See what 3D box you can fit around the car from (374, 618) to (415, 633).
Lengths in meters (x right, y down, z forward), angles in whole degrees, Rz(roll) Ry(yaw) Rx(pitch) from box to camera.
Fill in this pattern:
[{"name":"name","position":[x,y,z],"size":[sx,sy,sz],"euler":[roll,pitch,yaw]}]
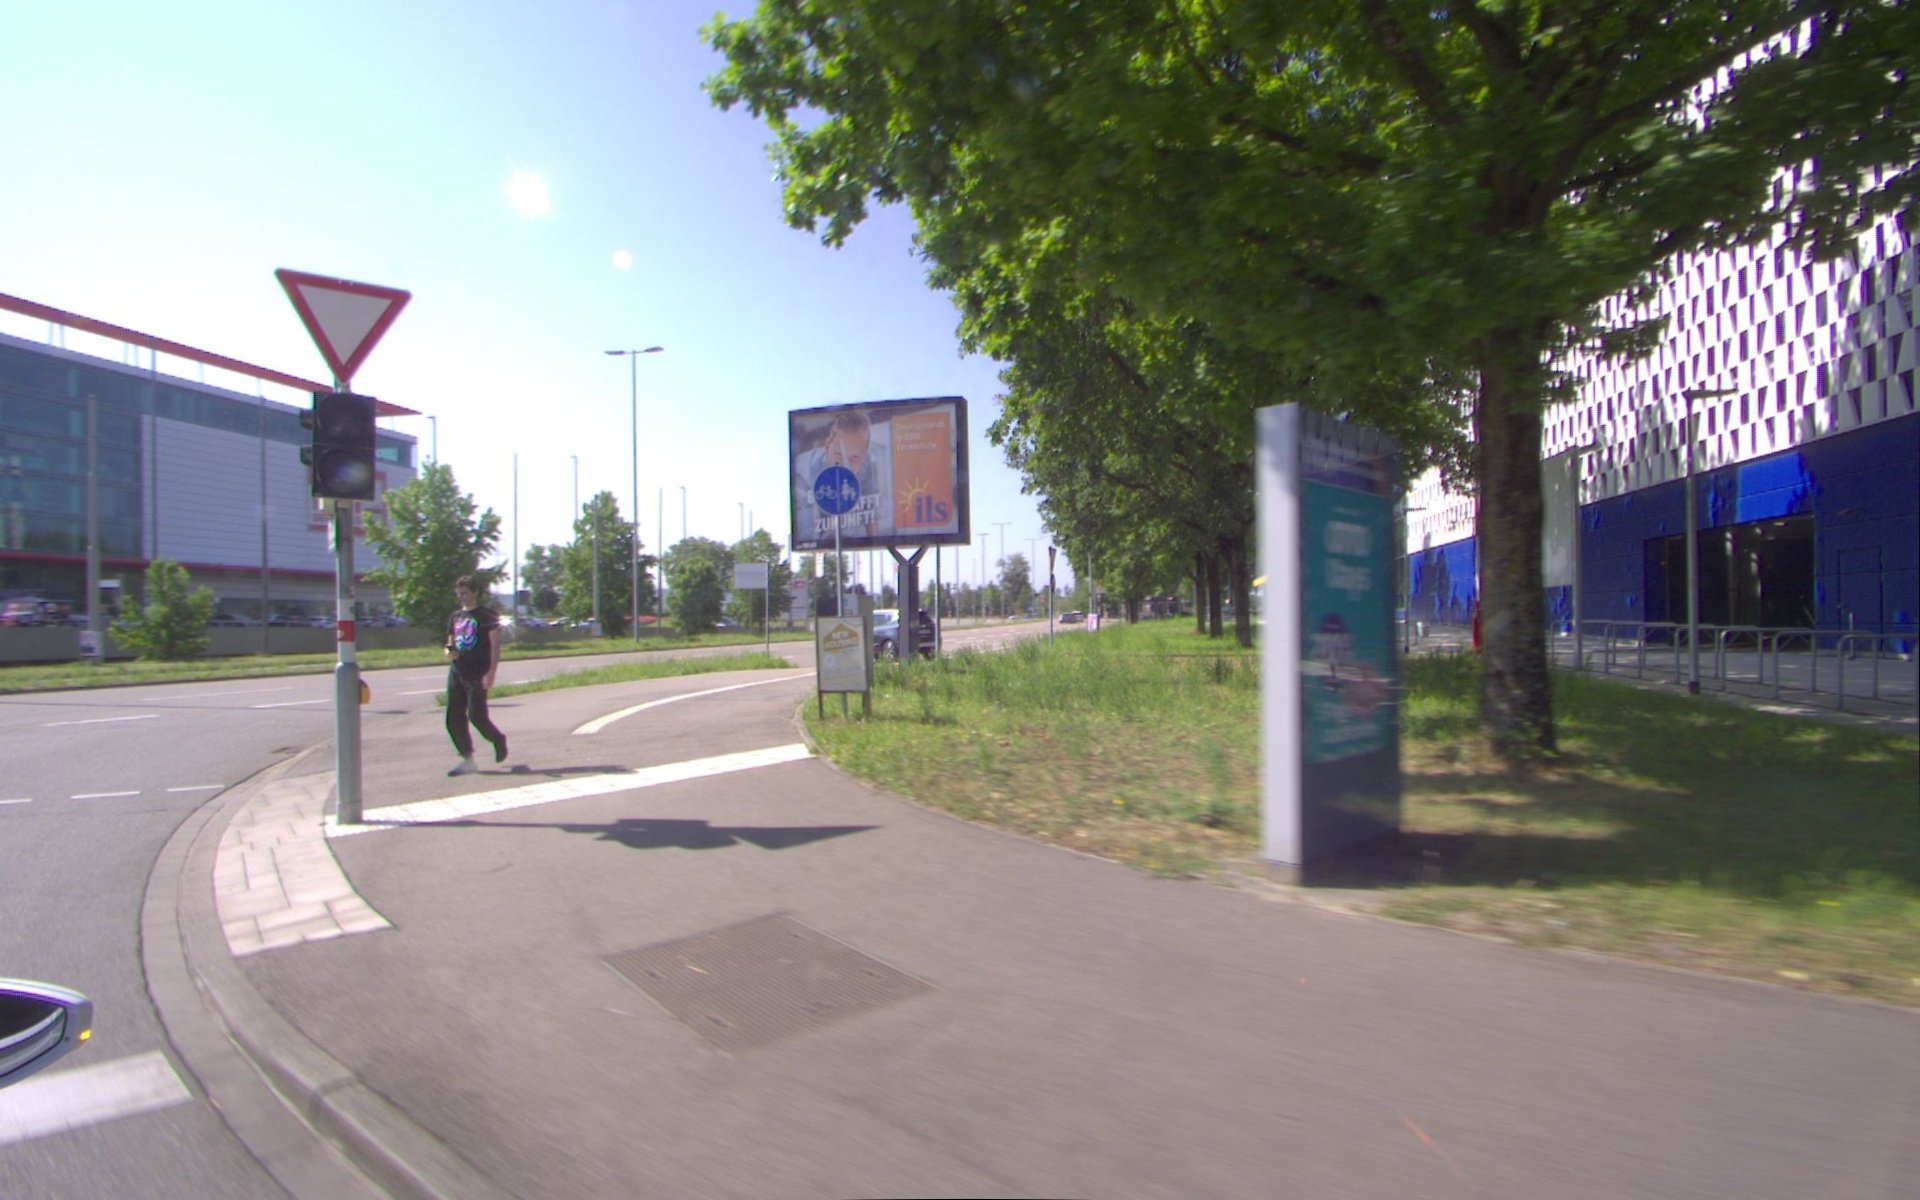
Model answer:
[{"name":"car","position":[-52.947,2.368,93.760],"size":[3.039,1.346,1.515],"euler":[-1,-2,11]}]

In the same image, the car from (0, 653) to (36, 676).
[{"name":"car","position":[-42.925,2.899,45.031],"size":[1.906,0.988,1.071],"euler":[0,-2,10]}]

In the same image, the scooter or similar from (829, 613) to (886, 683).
[{"name":"scooter or similar","position":[-1.796,0.839,17.618],"size":[0.397,1.181,1.179],"euler":[-1,-2,29]}]

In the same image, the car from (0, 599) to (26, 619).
[{"name":"car","position":[-66.214,0.614,68.771],"size":[3.039,1.346,1.515],"euler":[-1,-2,11]}]

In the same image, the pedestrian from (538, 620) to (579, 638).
[{"name":"pedestrian","position":[-46.626,3.398,116.345],"size":[1.979,2.039,3.966],"euler":[-2,-2,43]}]

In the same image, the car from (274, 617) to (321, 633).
[{"name":"car","position":[-55.408,2.118,83.760],"size":[3.039,1.346,1.515],"euler":[-1,-2,11]}]

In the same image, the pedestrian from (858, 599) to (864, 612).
[{"name":"pedestrian","position":[-16.037,0.913,162.906],"size":[0.705,1.997,0.917],"euler":[0,-1,17]}]

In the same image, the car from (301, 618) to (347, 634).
[{"name":"car","position":[-54.810,2.212,86.328],"size":[3.039,1.346,1.704],"euler":[-1,-2,11]}]

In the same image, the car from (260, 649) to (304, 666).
[{"name":"car","position":[-39.908,3.359,58.955],"size":[1.906,0.988,1.071],"euler":[0,-2,10]}]

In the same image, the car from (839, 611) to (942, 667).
[{"name":"car","position":[-2.132,1.130,30.110],"size":[1.654,1.543,3.354],"euler":[1,0,-34]}]

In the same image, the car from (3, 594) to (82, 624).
[{"name":"car","position":[-50.335,0.496,54.966],"size":[2.722,1.577,1.774],"euler":[-1,0,6]}]

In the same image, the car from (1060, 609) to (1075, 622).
[{"name":"car","position":[14.704,2.120,137.123],"size":[1.679,1.594,4.172],"euler":[-1,-1,10]}]

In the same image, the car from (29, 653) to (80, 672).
[{"name":"car","position":[-48.792,3.346,53.962],"size":[1.906,0.988,1.071],"euler":[0,-2,10]}]

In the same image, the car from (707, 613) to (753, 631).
[{"name":"car","position":[-24.513,2.322,106.874],"size":[4.343,1.866,1.945],"euler":[-1,-1,12]}]

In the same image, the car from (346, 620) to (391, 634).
[{"name":"car","position":[-53.696,2.437,90.877],"size":[3.444,1.214,1.480],"euler":[-1,-2,11]}]

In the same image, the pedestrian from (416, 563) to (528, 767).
[{"name":"pedestrian","position":[-4.558,0.582,9.407],"size":[0.693,1.803,0.959],"euler":[-1,0,-11]}]

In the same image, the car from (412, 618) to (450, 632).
[{"name":"car","position":[-51.651,2.473,97.834],"size":[3.039,1.310,1.515],"euler":[-1,-2,12]}]

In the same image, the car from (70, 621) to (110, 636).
[{"name":"car","position":[-58.105,1.905,66.864],"size":[1.906,0.988,1.071],"euler":[-1,-1,10]}]

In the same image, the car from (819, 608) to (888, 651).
[{"name":"car","position":[-4.238,1.161,40.481],"size":[1.605,1.518,3.864],"euler":[0,2,13]}]

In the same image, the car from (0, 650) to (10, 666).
[{"name":"car","position":[-62.398,3.730,64.375],"size":[1.906,0.988,0.922],"euler":[0,-2,10]}]

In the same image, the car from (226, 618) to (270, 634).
[{"name":"car","position":[-60.411,2.243,84.990],"size":[3.085,1.346,1.301],"euler":[-1,-2,11]}]
